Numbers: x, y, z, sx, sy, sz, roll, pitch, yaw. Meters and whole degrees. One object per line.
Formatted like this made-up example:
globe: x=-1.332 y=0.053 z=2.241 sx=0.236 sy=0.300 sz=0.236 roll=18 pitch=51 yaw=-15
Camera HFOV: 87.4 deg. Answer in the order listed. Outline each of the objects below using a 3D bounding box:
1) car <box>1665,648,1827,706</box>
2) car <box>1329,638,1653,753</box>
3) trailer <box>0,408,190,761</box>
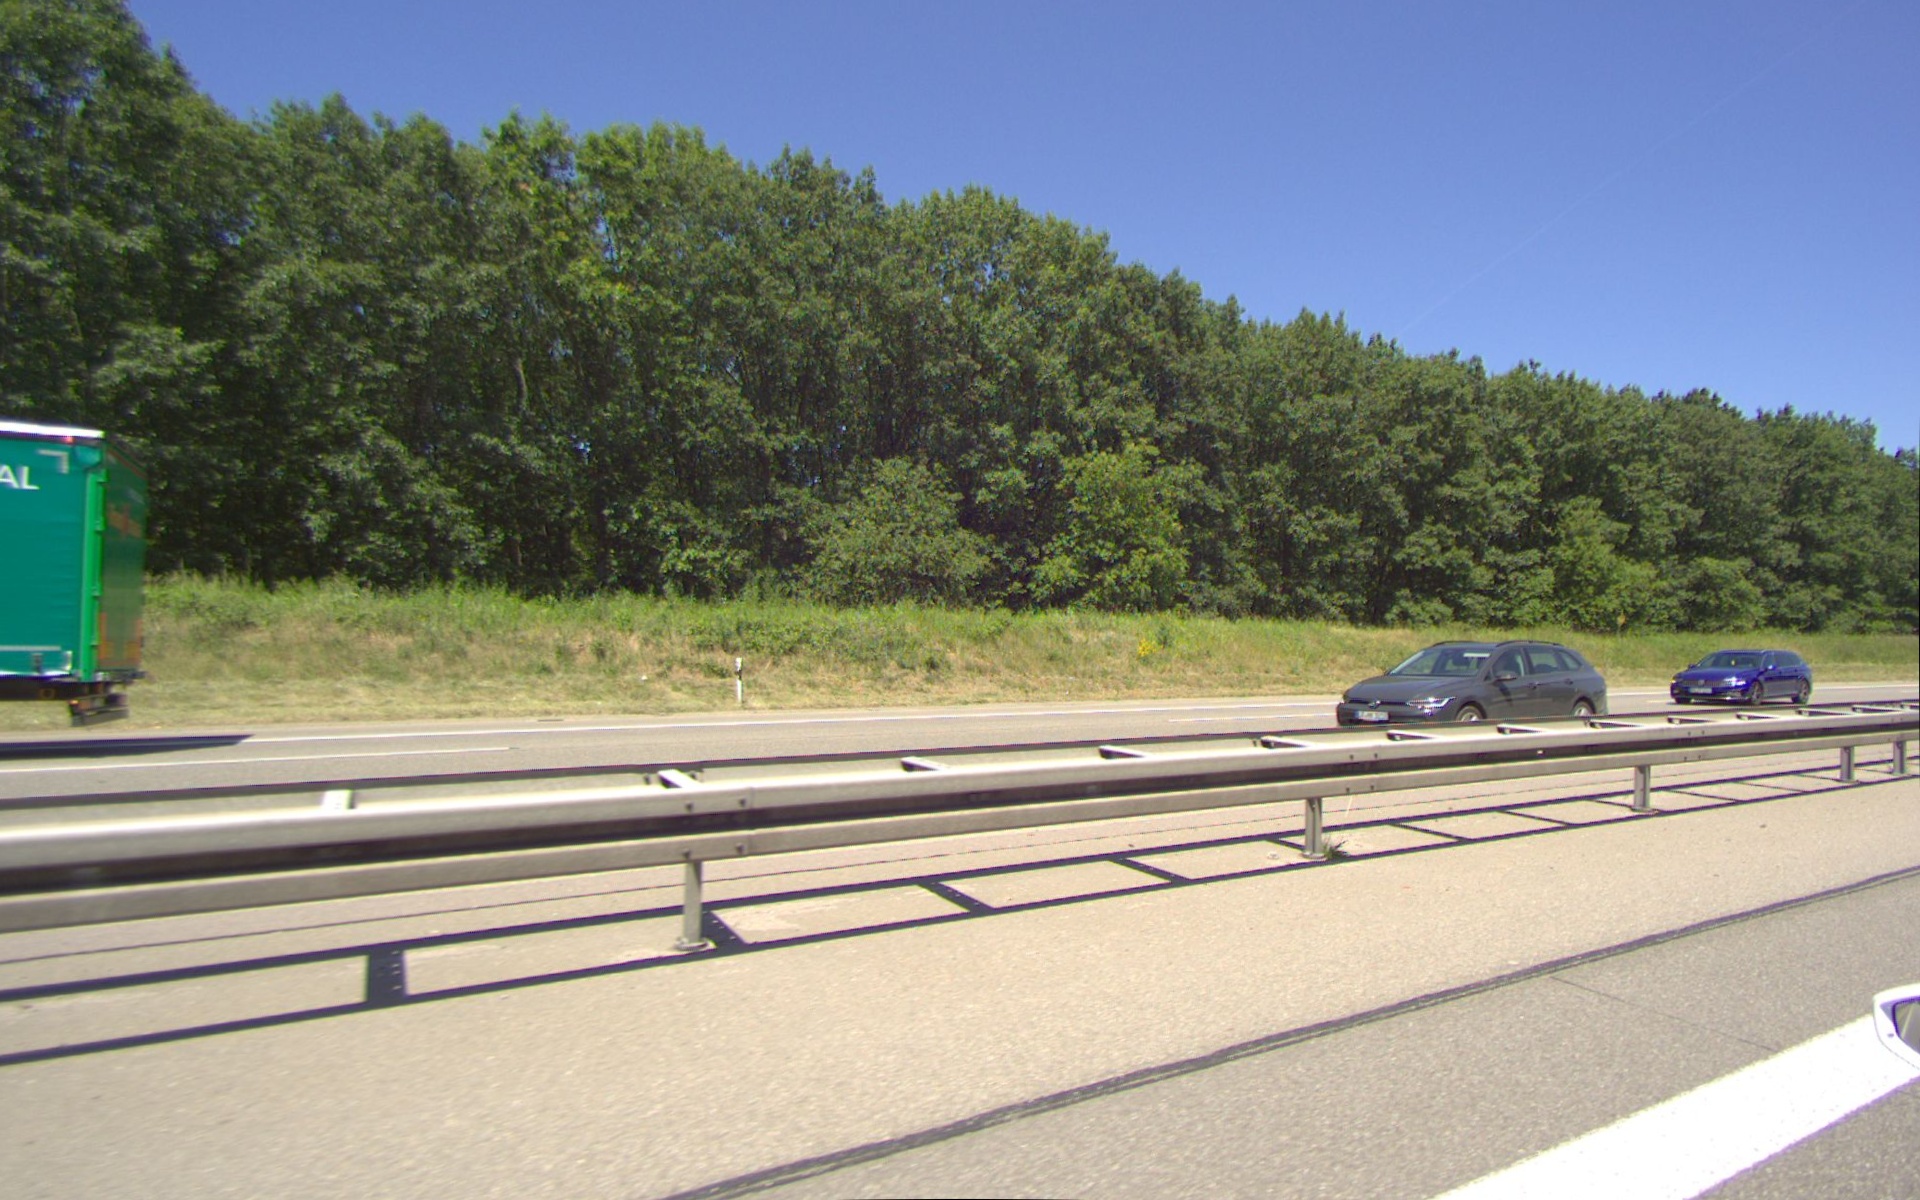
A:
car: x=21.389 y=2.049 z=27.284 sx=5.075 sy=1.462 sz=1.667 roll=2 pitch=-4 yaw=-30
car: x=7.727 y=1.311 z=14.483 sx=5.023 sy=1.428 sz=1.702 roll=2 pitch=-4 yaw=-30
trailer: x=-17.064 y=-0.264 z=10.283 sx=14.168 sy=4.215 sz=2.693 roll=2 pitch=-4 yaw=-30
